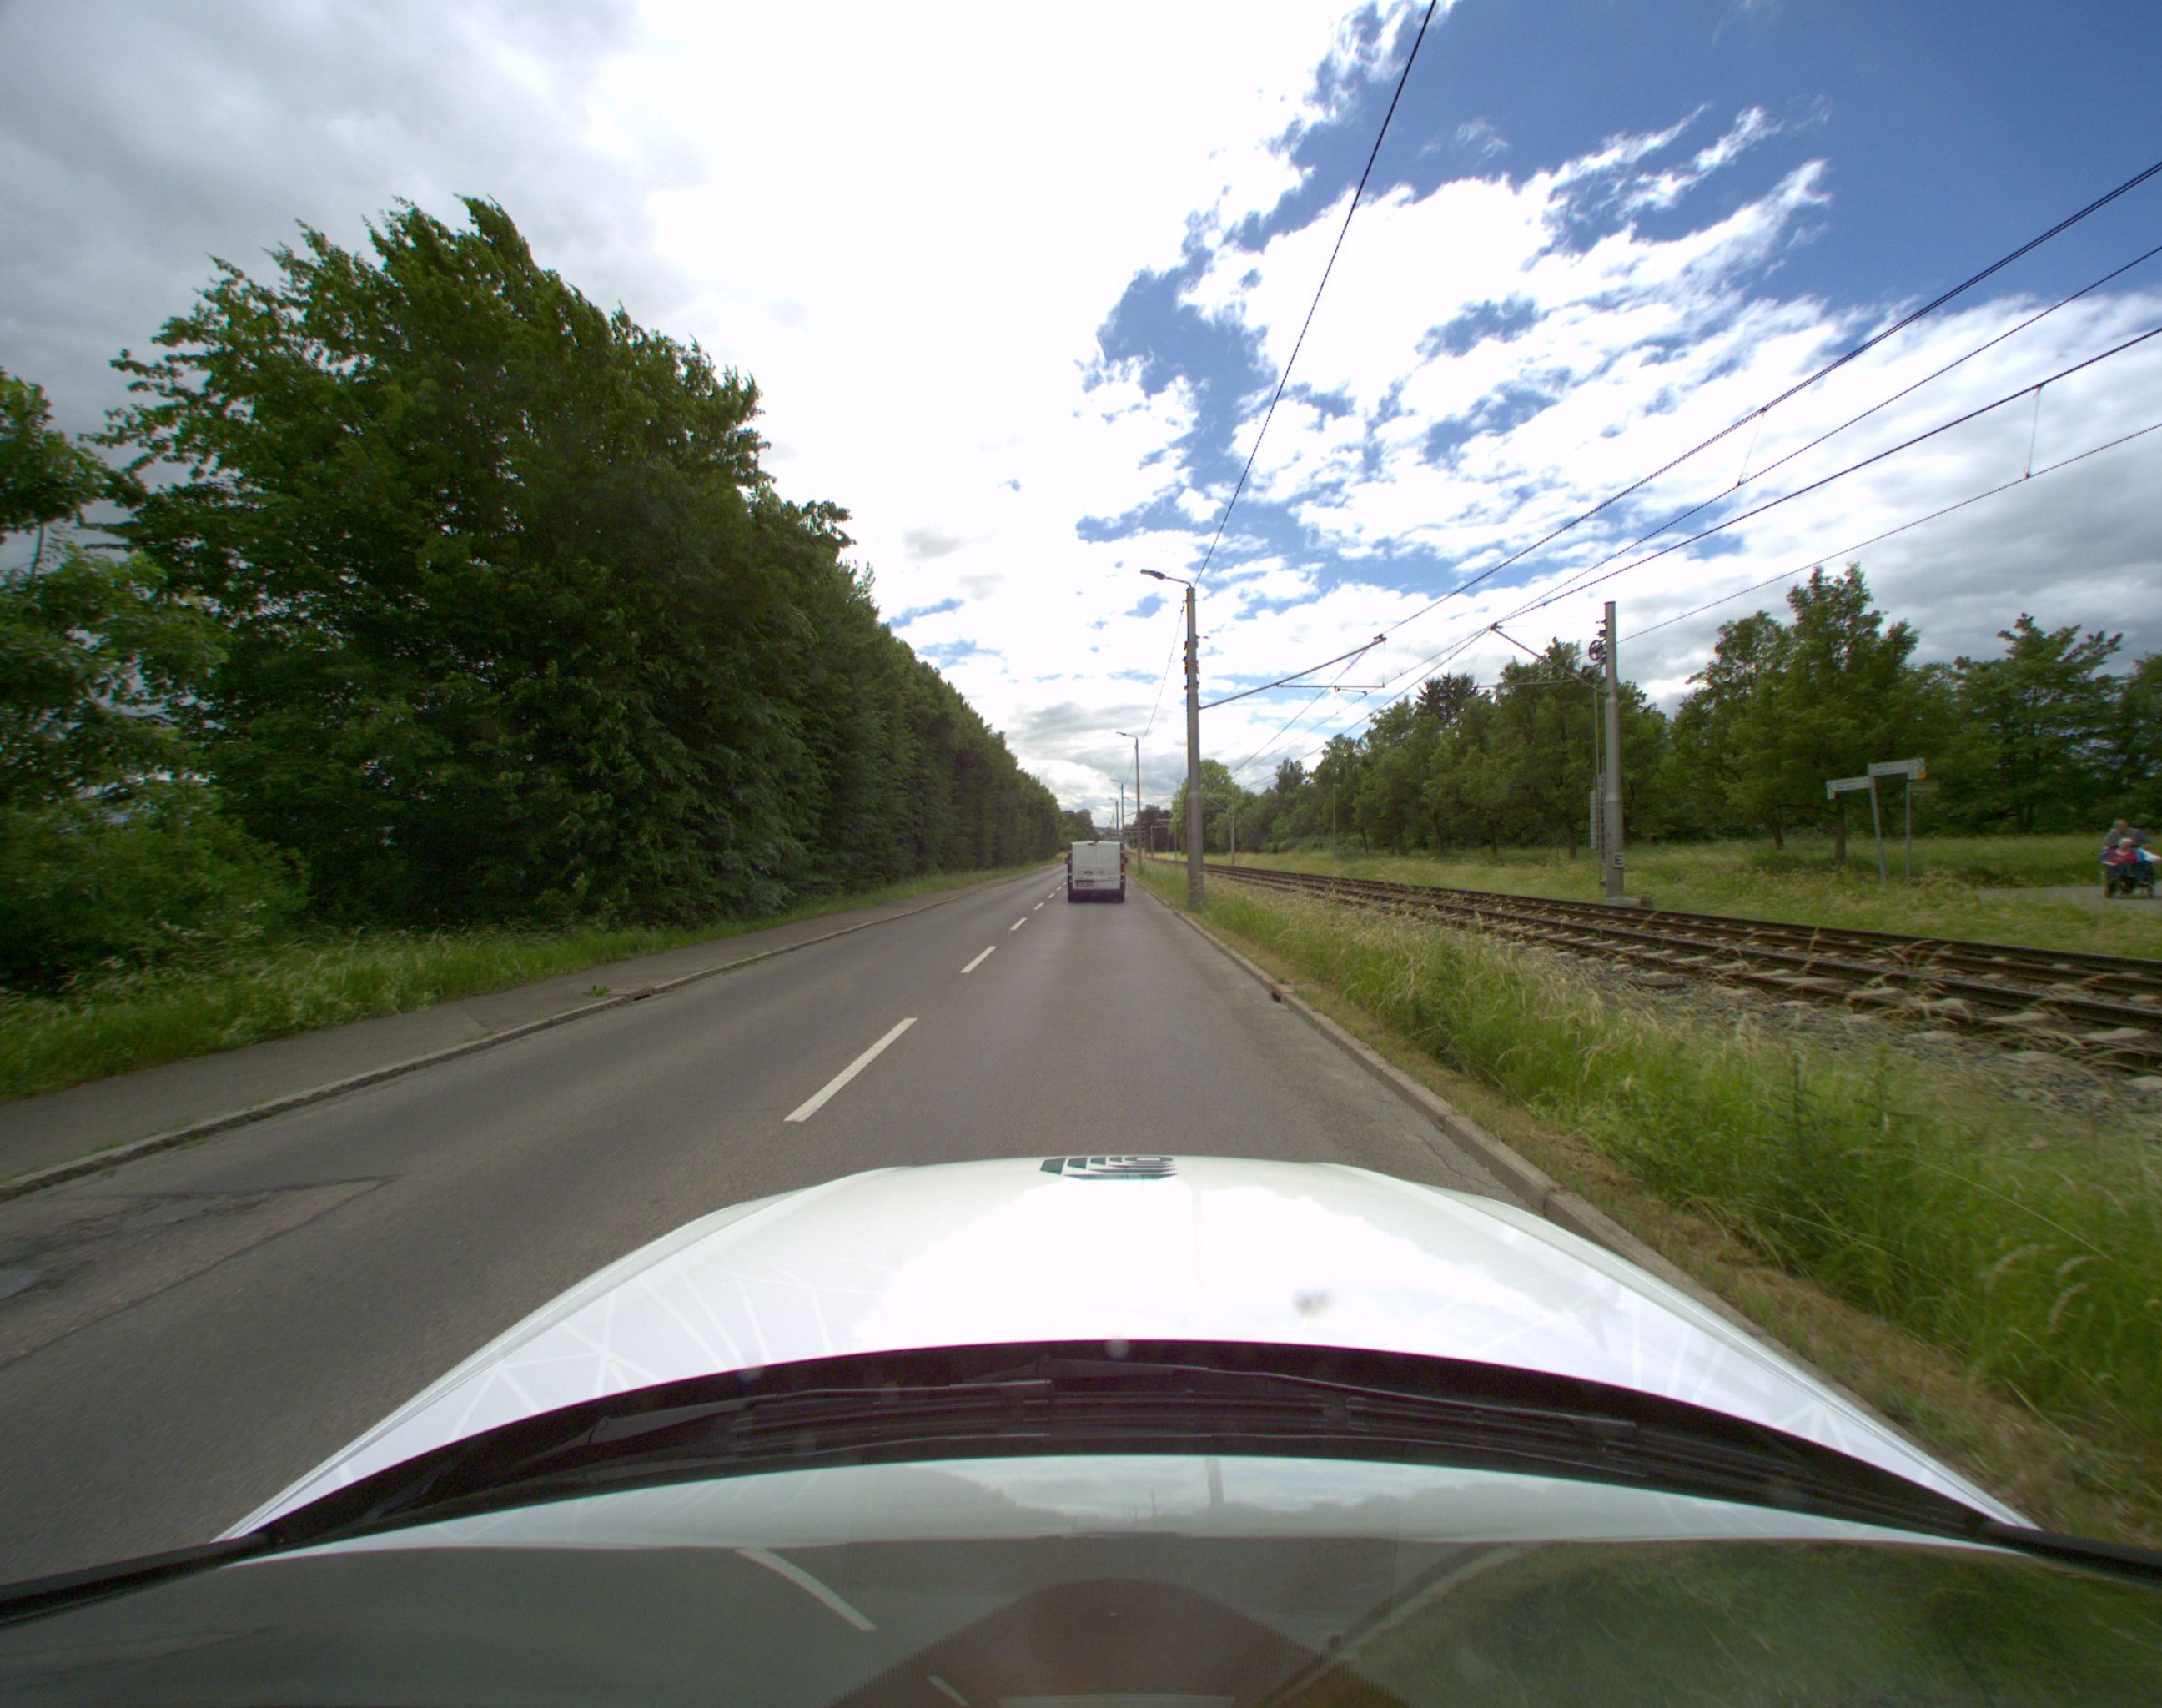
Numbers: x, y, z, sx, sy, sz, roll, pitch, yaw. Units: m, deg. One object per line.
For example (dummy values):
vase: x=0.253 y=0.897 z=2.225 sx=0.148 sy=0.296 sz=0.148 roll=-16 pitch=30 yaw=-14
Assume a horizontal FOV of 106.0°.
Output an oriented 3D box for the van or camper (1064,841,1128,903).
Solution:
van or camper: x=0.452 y=0.558 z=27.352 sx=1.936 sy=1.897 sz=4.283 roll=-1 pitch=0 yaw=0

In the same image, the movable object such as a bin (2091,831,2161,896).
movable object such as a bin: x=22.165 y=0.184 z=17.270 sx=0.651 sy=1.310 sz=1.653 roll=-2 pitch=-1 yaw=42

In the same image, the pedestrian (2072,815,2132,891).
pedestrian: x=22.938 y=-0.027 z=18.314 sx=0.650 sy=1.667 sz=0.964 roll=-2 pitch=-1 yaw=42
